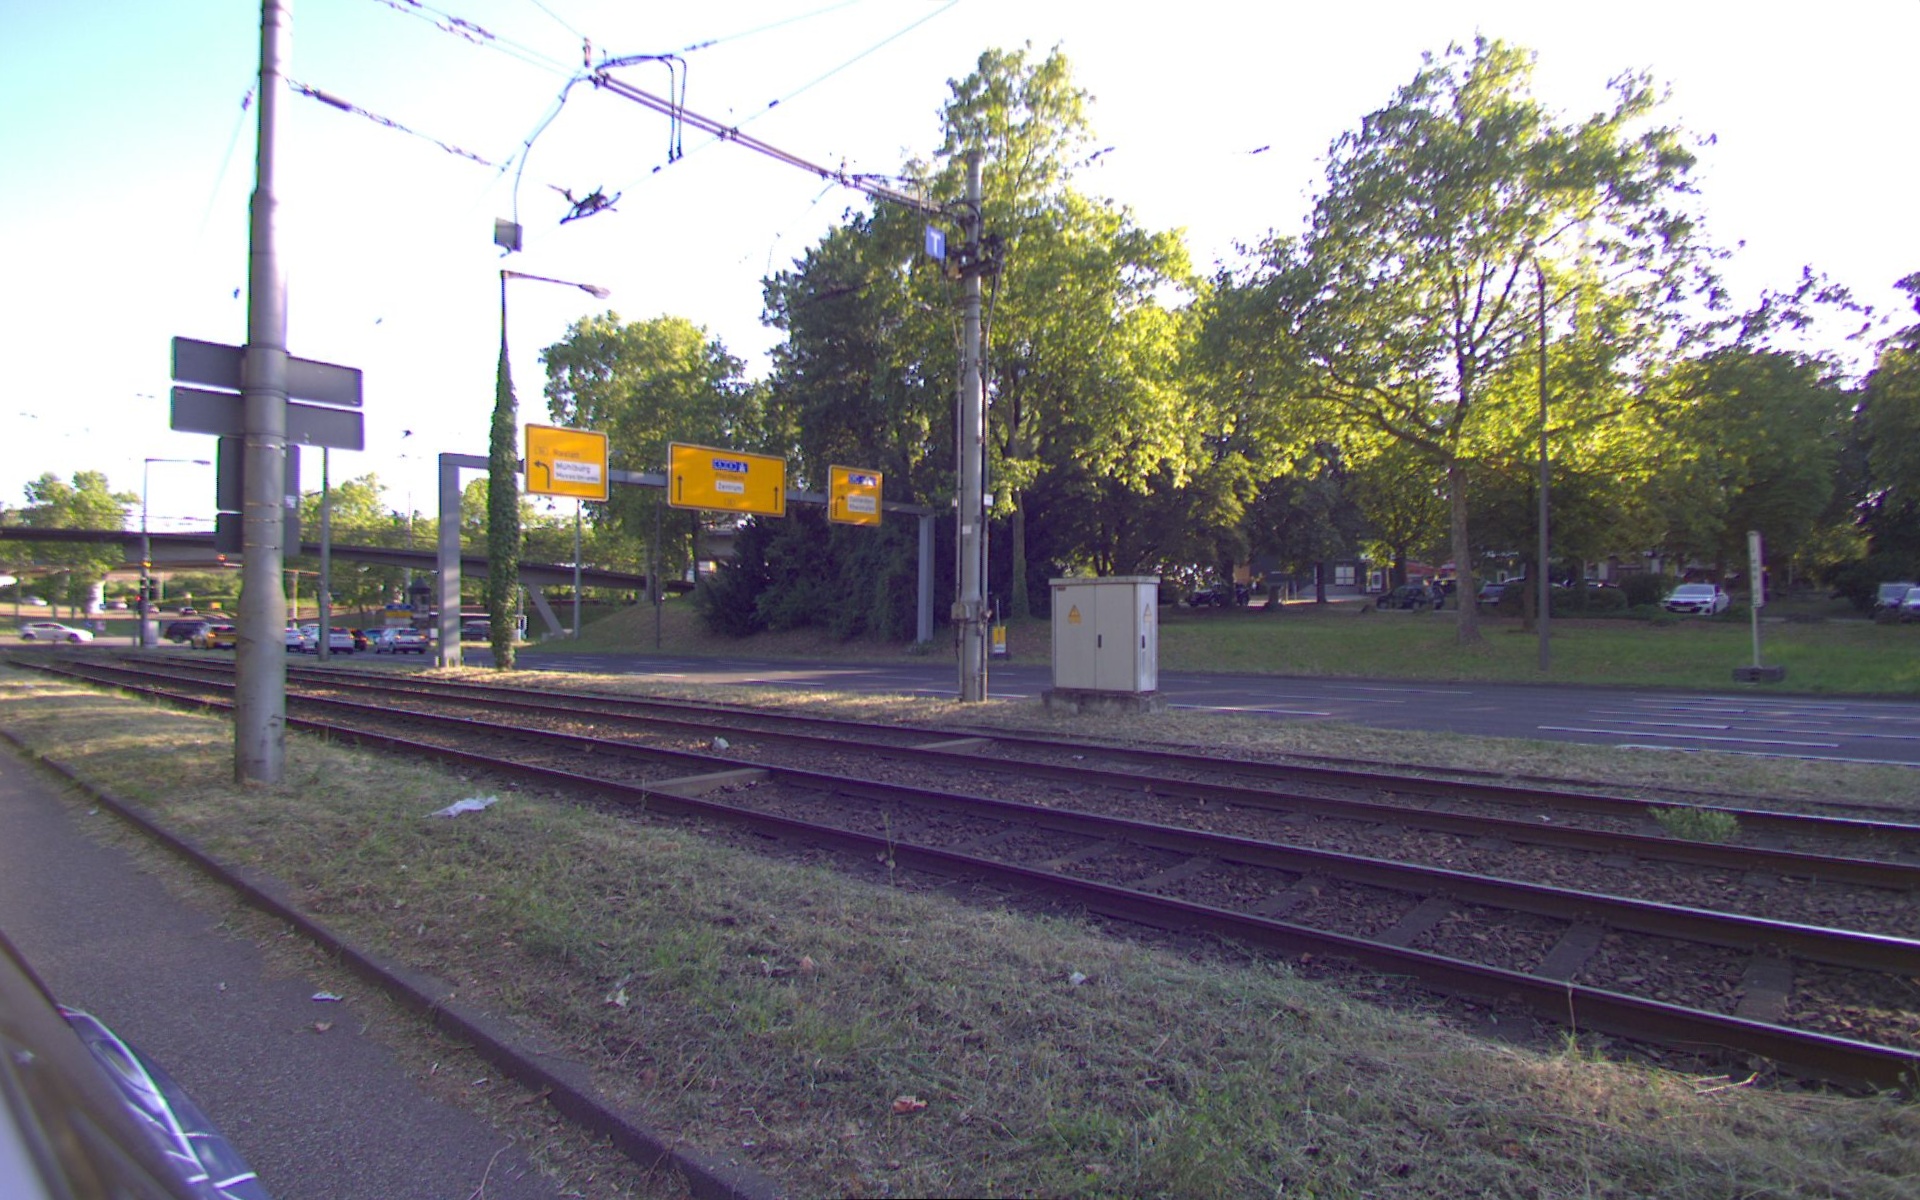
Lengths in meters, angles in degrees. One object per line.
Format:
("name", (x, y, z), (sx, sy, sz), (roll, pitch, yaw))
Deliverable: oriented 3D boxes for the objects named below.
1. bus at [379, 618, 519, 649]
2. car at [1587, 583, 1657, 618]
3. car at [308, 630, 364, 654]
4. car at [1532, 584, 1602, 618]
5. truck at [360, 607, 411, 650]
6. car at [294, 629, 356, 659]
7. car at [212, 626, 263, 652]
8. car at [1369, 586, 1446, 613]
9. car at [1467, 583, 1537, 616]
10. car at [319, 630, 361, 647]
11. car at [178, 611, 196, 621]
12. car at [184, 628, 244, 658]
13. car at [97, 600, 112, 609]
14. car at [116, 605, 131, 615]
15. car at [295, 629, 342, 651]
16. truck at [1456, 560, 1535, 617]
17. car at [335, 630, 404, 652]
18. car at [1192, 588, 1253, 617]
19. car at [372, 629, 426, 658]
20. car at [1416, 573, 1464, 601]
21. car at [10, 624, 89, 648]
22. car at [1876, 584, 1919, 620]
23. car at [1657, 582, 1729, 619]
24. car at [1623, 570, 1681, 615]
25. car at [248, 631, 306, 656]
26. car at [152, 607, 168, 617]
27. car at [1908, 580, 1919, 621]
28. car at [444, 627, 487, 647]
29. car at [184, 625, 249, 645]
("bus", (-53.650, 3.434, 106.716), (12.965, 2.884, 2.425), (-1, 0, -25))
("car", (30.172, 0.009, 46.103), (1.942, 1.521, 4.039), (-1, 0, 44))
("car", (-39.490, 2.647, 63.998), (4.224, 1.435, 1.844), (-2, -1, 40))
("car", (28.563, 0.024, 47.540), (1.942, 1.521, 4.039), (-1, 0, 44))
("truck", (-40.161, 1.968, 70.648), (2.248, 2.901, 6.895), (0, -1, -37))
("car", (-34.305, 2.351, 54.650), (3.997, 1.556, 1.744), (-2, -1, 40))
("car", (-45.688, 2.450, 63.928), (4.228, 1.561, 1.892), (-2, -2, 44))
("car", (25.622, -0.042, 57.963), (3.725, 1.474, 1.651), (0, 1, 44))
("car", (26.307, -0.026, 49.069), (1.942, 1.521, 4.039), (-1, 0, 44))
("car", (-62.772, 3.911, 102.471), (3.593, 1.523, 1.668), (-1, 0, -30))
("car", (-120.824, 2.493, 158.160), (1.806, 1.630, 3.986), (-1, 0, -43))
("car", (-40.661, 2.322, 55.135), (3.997, 1.556, 1.744), (-2, -1, 40))
("car", (-155.478, 0.823, 183.922), (1.806, 1.630, 3.986), (-1, 0, -43))
("car", (-145.117, 1.736, 175.559), (1.806, 1.630, 3.986), (-1, 0, -43))
("car", (-44.032, 2.739, 69.453), (1.891, 1.435, 4.229), (0, -2, -44))
("truck", (31.879, -0.663, 60.169), (2.503, 3.191, 6.137), (-1, 0, 45))
("car", (-48.284, 3.316, 82.779), (4.727, 1.584, 1.944), (-1, -1, -33))
("car", (15.533, 0.128, 59.840), (1.791, 1.657, 3.942), (-2, -1, 44))
("car", (-32.088, 2.478, 57.834), (1.787, 1.556, 4.004), (0, -2, -43))
("car", (33.692, -0.952, 70.946), (2.290, 1.864, 5.214), (-1, 1, 34))
("car", (-65.157, 2.561, 72.516), (3.962, 1.504, 1.628), (-1, 0, -33))
("car", (44.106, 0.063, 47.109), (3.998, 1.628, 1.864), (-1, 0, -43))
("car", (31.699, -0.004, 43.727), (1.942, 1.521, 4.039), (-1, 0, 44))
("car", (37.022, -0.400, 54.123), (2.161, 2.320, 4.348), (-1, 0, 40))
("car", (-40.416, 2.544, 59.850), (4.225, 1.435, 1.893), (-2, -1, 42))
("car", (-131.687, 1.929, 166.610), (1.806, 1.630, 3.986), (-1, 0, -43))
("car", (37.718, 0.004, 38.776), (1.942, 1.521, 4.039), (-1, 0, 44))
("car", (-50.317, 3.781, 103.006), (3.748, 1.872, 1.682), (-1, 0, -30))
("car", (-59.087, 2.765, 80.477), (3.945, 1.504, 1.701), (-1, 0, -30))
